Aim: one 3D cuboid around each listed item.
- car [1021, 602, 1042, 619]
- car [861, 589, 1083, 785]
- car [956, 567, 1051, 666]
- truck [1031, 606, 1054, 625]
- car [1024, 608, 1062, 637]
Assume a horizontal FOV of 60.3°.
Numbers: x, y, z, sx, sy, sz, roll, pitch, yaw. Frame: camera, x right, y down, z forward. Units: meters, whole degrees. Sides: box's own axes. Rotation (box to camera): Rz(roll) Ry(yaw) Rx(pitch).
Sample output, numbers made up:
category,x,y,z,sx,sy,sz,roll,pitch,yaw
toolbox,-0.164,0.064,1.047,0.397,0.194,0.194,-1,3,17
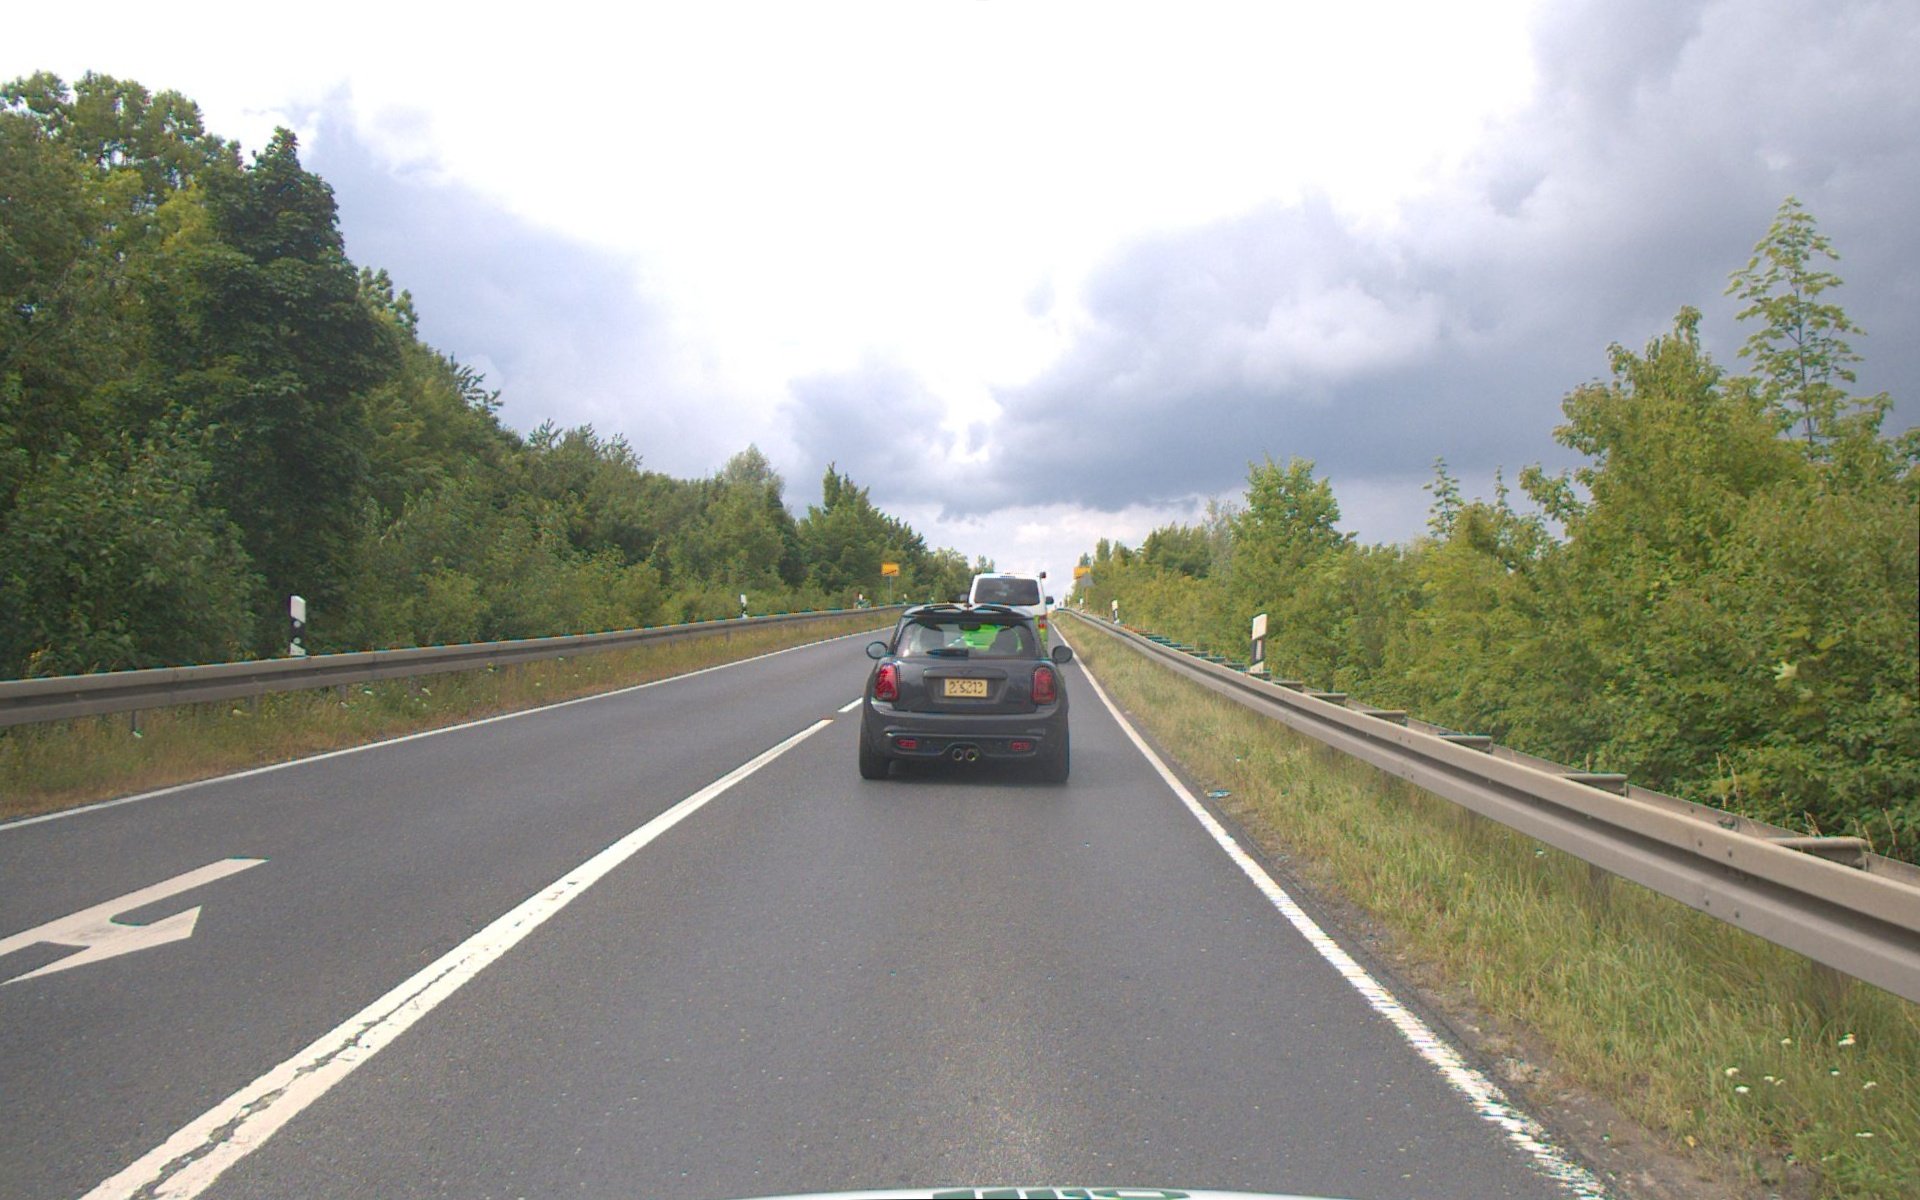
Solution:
category,x,y,z,sx,sy,sz,roll,pitch,yaw
car,6.070,0.871,140.249,1.659,1.342,4.002,-1,0,4
car,0.032,0.668,14.847,1.697,1.481,3.999,1,0,-2
car,1.012,0.338,37.386,1.980,2.048,4.001,2,0,2
truck,11.780,2.165,236.103,2.848,2.413,10.458,-2,0,5
car,4.034,1.104,80.039,1.658,1.244,4.001,-1,-3,5
